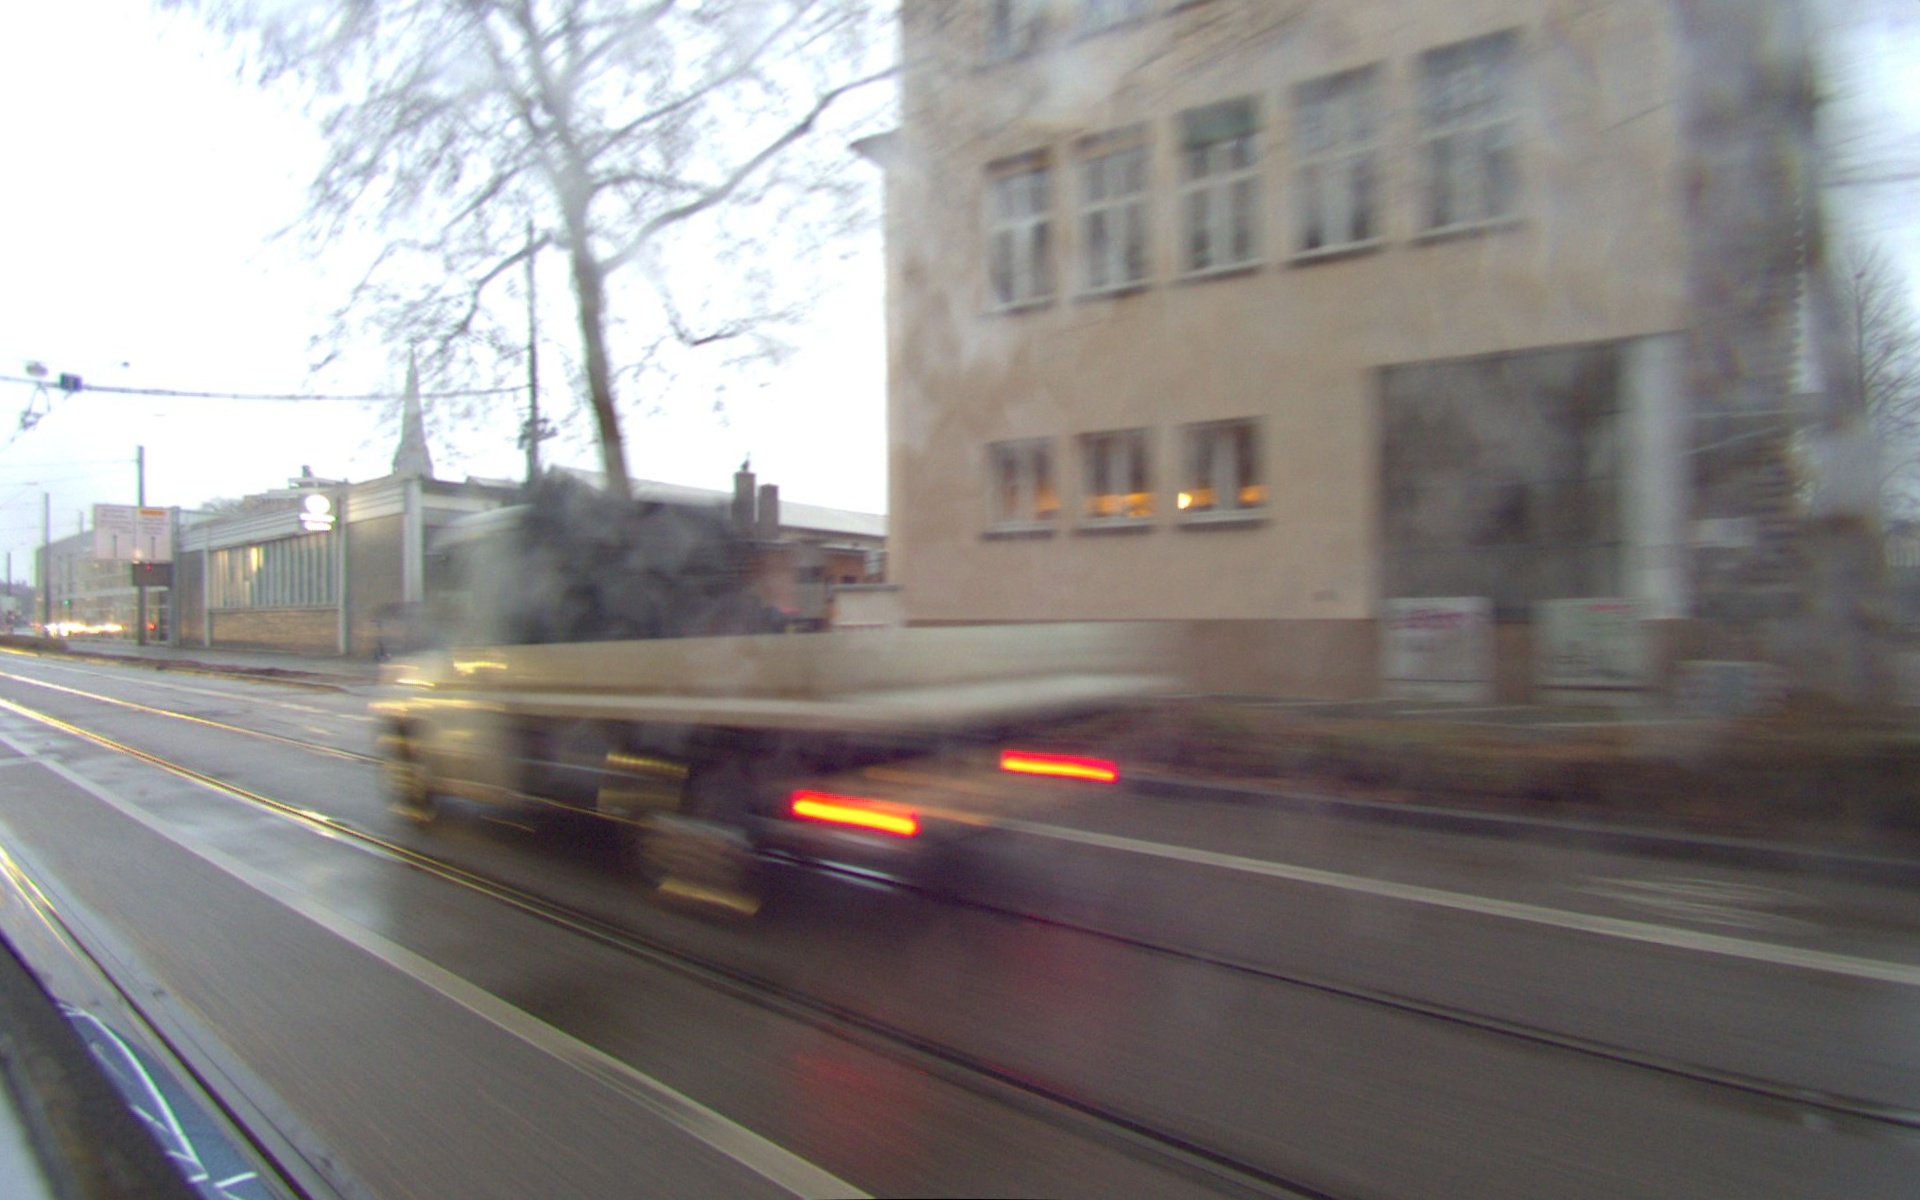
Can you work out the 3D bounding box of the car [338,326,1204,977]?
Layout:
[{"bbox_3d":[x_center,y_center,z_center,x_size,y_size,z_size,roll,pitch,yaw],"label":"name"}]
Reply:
[{"bbox_3d":[-1.648,0.227,6.538,5.842,2.365,2.421,-1,-1,41],"label":"car"}]
